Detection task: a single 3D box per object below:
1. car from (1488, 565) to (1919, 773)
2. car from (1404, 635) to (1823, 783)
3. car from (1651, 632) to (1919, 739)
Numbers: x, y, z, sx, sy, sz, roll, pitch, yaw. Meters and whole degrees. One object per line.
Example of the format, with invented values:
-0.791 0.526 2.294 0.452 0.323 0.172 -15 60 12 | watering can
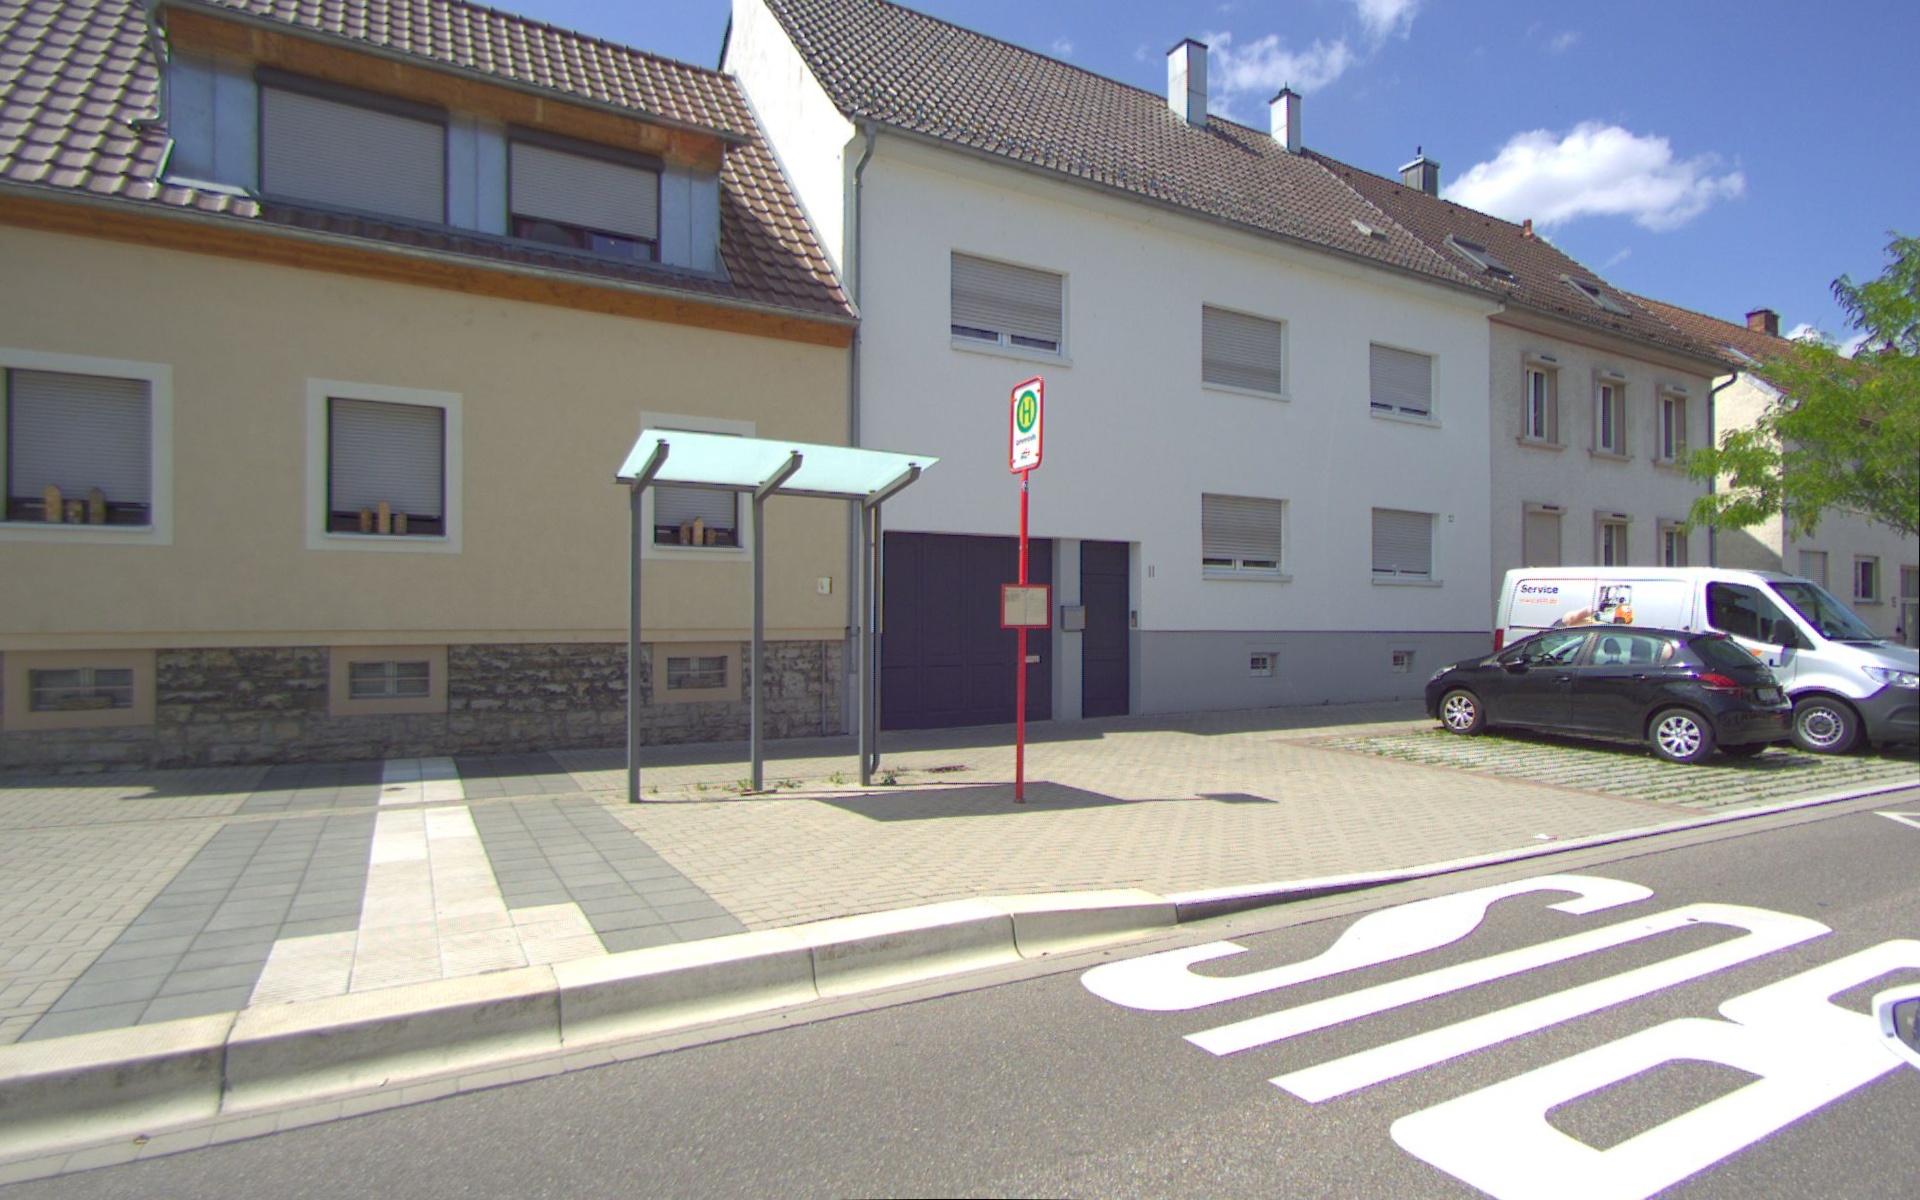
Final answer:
10.394 0.785 13.889 2.132 2.319 5.140 1 0 -31 | car
7.876 1.193 12.491 1.880 1.465 3.966 1 -1 -31 | car
13.482 1.274 15.959 1.704 1.404 3.767 2 -1 -28 | car
